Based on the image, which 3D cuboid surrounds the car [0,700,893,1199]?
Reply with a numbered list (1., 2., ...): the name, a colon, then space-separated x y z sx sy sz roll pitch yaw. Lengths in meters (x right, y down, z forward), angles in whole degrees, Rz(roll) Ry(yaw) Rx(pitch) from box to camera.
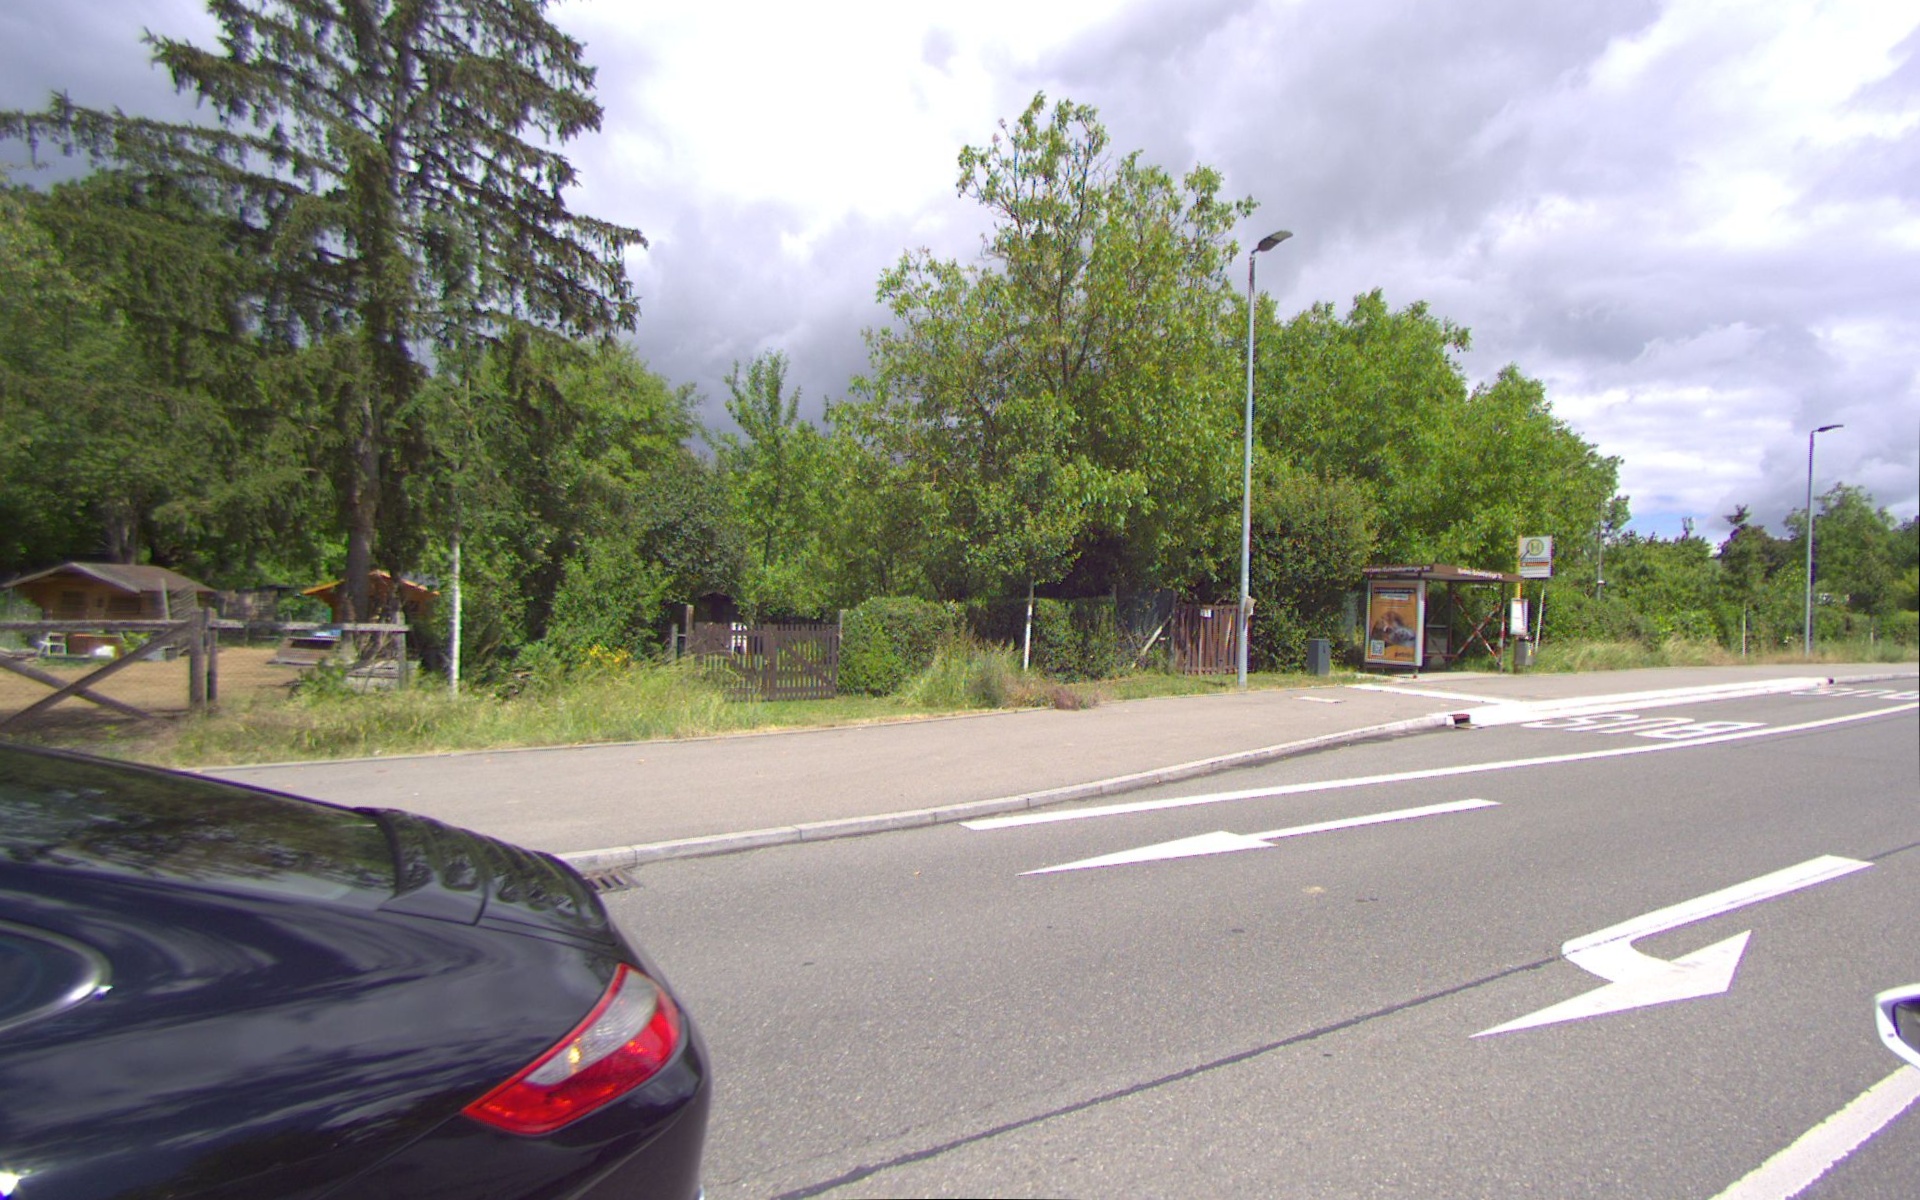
1. car: -2.232 0.924 1.365 3.964 1.318 1.723 2 -1 -35
